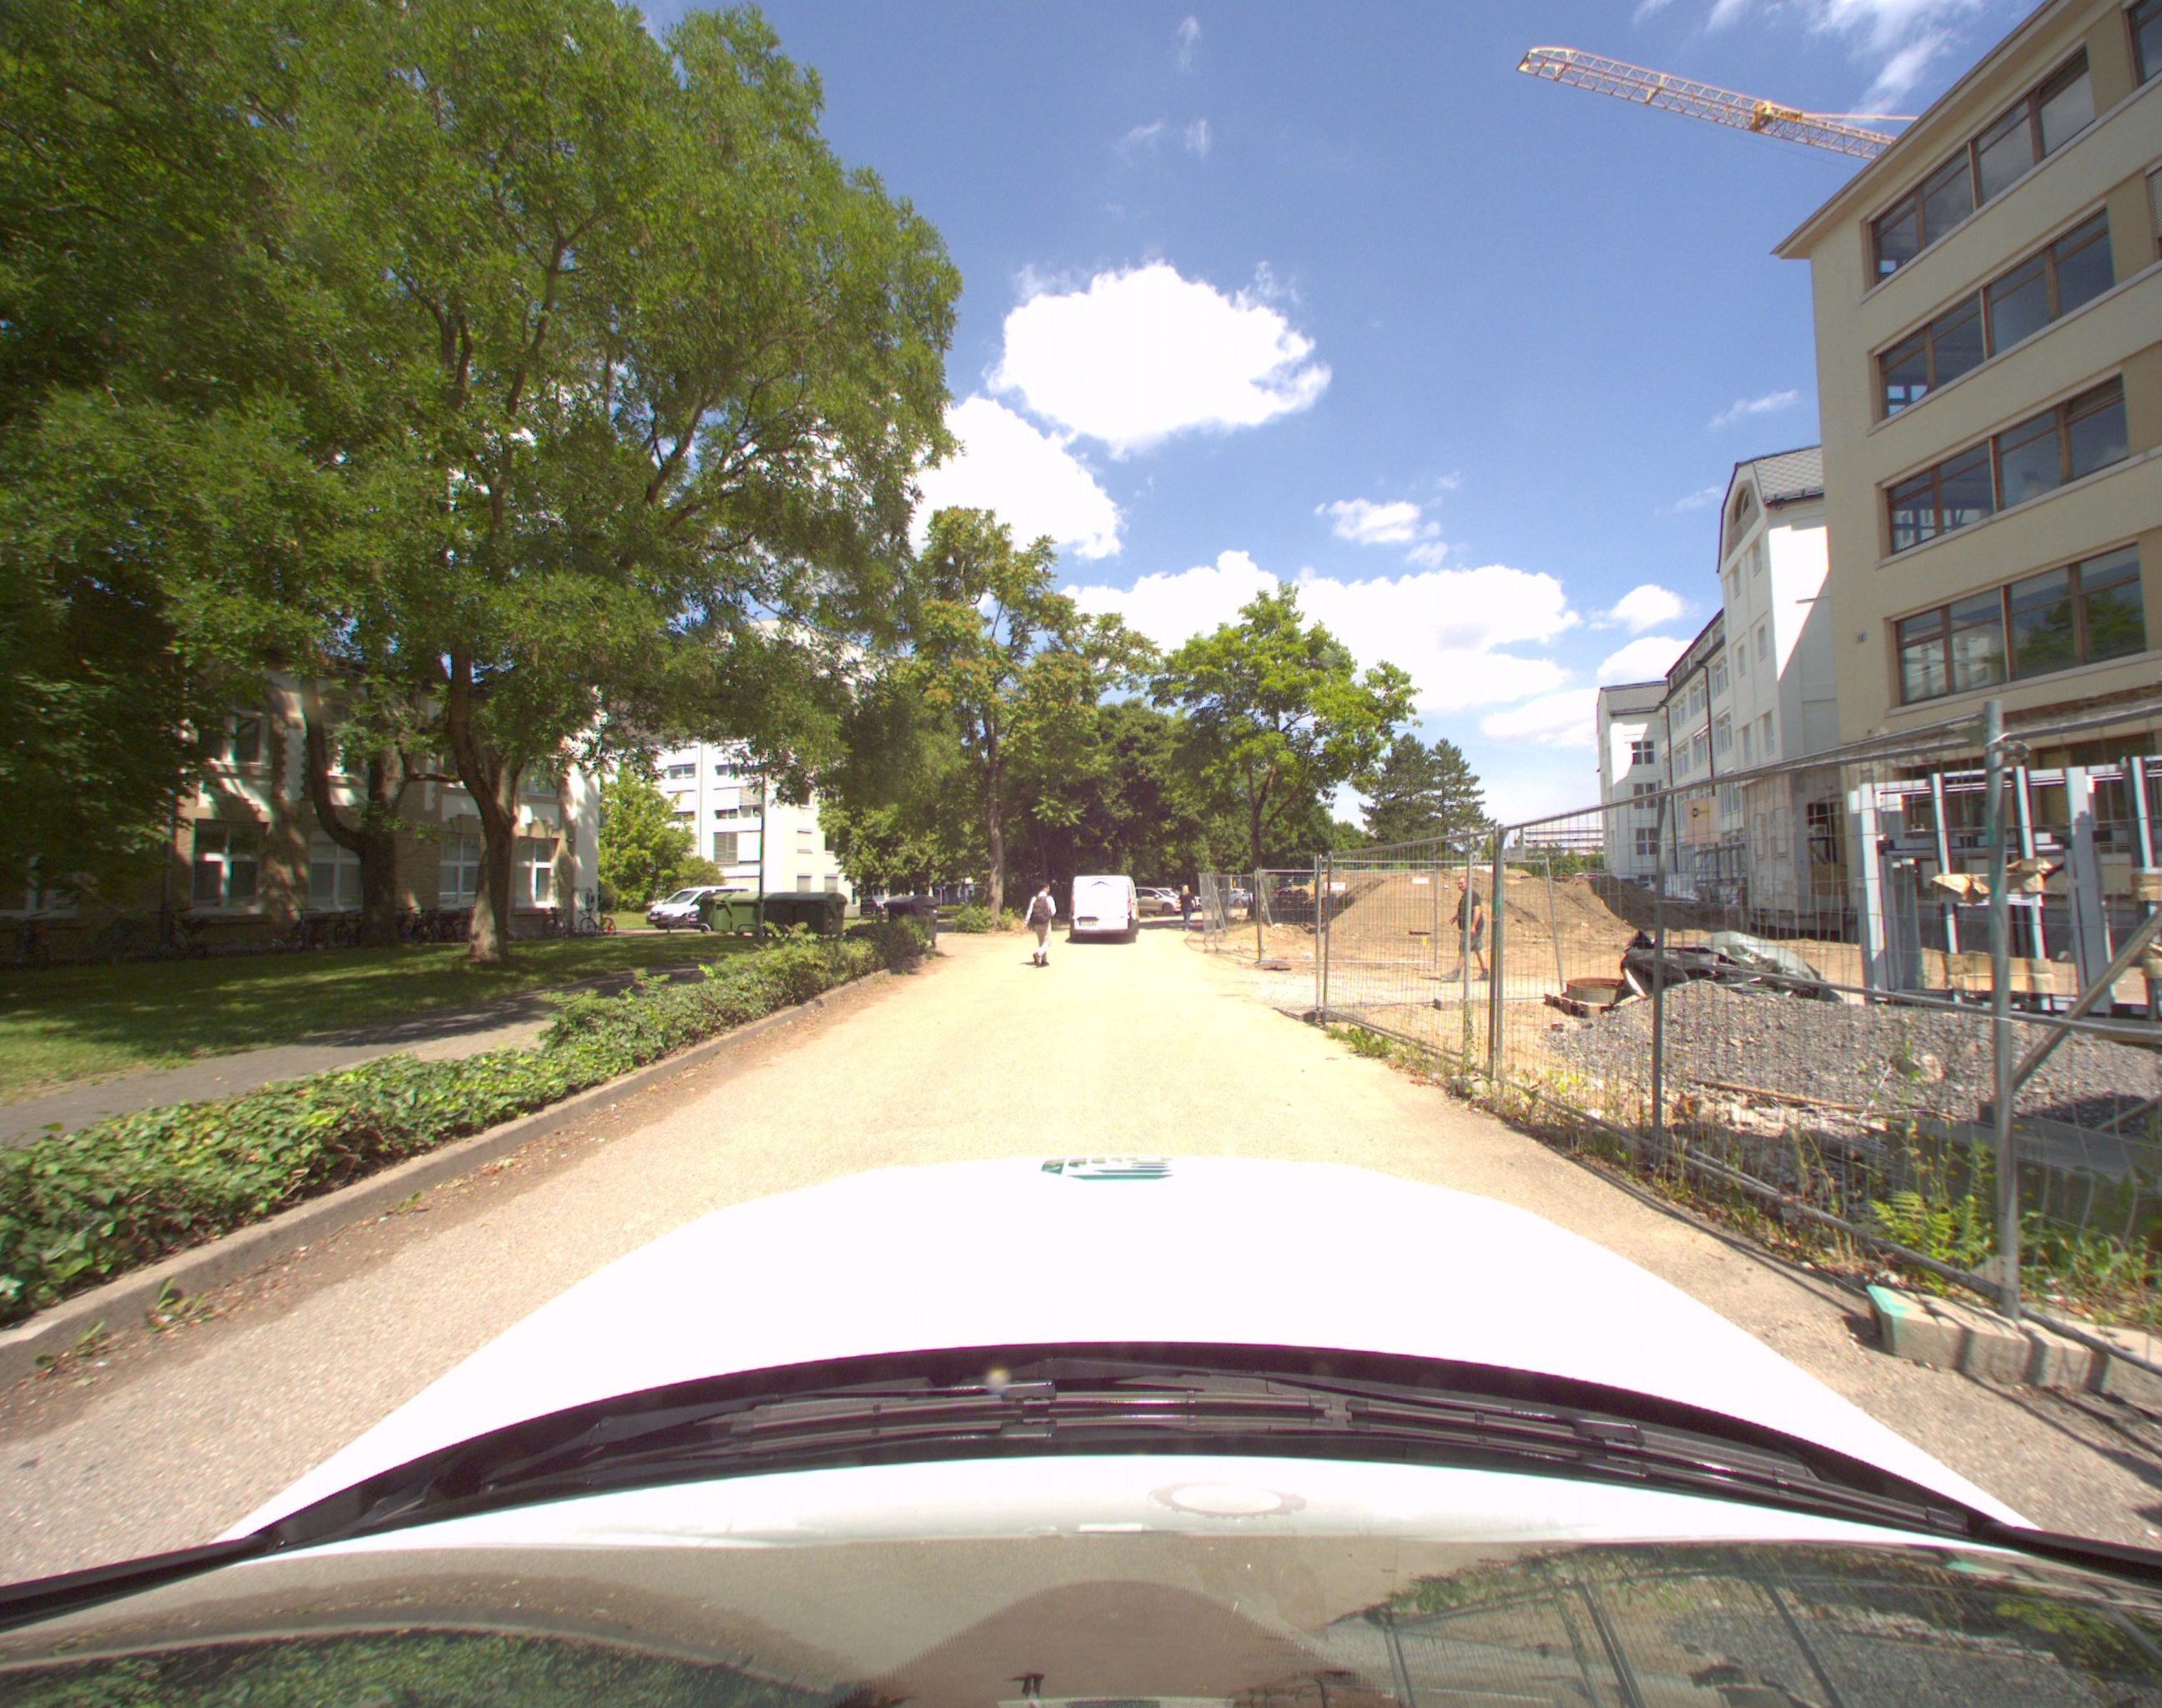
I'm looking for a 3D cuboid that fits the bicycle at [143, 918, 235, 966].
[{"bbox_3d":[-20.012,1.953,18.266,2.232,1.011,0.610,-1,-3,22],"label":"bicycle"}]

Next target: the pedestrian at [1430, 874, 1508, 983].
[{"bbox_3d":[6.708,1.276,14.132,0.959,1.820,0.872,-1,-3,8],"label":"pedestrian"}]

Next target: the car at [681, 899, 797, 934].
[{"bbox_3d":[-14.970,2.700,35.931,1.810,1.352,4.653,-2,-3,26],"label":"car"}]

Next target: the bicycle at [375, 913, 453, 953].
[{"bbox_3d":[-18.103,2.133,22.093,2.232,1.011,0.610,-1,-3,22],"label":"bicycle"}]

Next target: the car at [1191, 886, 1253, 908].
[{"bbox_3d":[11.094,3.393,64.194,4.464,1.598,1.735,-2,-2,25],"label":"car"}]

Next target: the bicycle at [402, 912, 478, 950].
[{"bbox_3d":[-17.874,2.131,22.714,2.232,1.011,0.610,-1,-3,22],"label":"bicycle"}]

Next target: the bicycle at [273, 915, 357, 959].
[{"bbox_3d":[-19.001,2.042,20.203,2.232,1.011,0.610,-1,-3,22],"label":"bicycle"}]

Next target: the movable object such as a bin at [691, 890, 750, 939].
[{"bbox_3d":[-11.384,1.909,25.737,1.392,1.480,1.054,-2,-3,26],"label":"movable object such as a bin"}]

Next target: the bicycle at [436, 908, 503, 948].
[{"bbox_3d":[-17.610,2.114,23.433,2.231,1.082,0.611,-2,-3,28],"label":"bicycle"}]

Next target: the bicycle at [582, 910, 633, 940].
[{"bbox_3d":[-15.770,2.351,27.106,1.708,0.958,0.617,-2,-3,28],"label":"bicycle"}]

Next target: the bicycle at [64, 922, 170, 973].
[{"bbox_3d":[-20.514,1.965,17.327,2.234,1.011,0.610,-1,-3,18],"label":"bicycle"}]

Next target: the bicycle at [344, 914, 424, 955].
[{"bbox_3d":[-18.407,2.108,21.490,2.232,1.011,0.610,-1,-3,22],"label":"bicycle"}]

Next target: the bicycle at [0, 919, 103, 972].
[{"bbox_3d":[-20.909,1.828,16.469,2.234,1.011,0.610,-1,-3,18],"label":"bicycle"}]

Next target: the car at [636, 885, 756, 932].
[{"bbox_3d":[-17.583,2.469,37.487,1.975,2.014,4.802,-3,-3,26],"label":"car"}]

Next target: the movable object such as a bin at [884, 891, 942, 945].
[{"bbox_3d":[-4.568,1.711,22.102,1.122,1.394,1.146,1,-3,-41],"label":"movable object such as a bin"}]

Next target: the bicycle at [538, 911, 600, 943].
[{"bbox_3d":[-16.292,2.298,25.901,2.231,0.958,0.611,-2,-3,28],"label":"bicycle"}]

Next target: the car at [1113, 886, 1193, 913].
[{"bbox_3d":[4.466,2.846,50.505,4.464,1.610,2.011,-2,-5,26],"label":"car"}]

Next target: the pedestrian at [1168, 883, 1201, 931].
[{"bbox_3d":[3.665,1.864,28.778,1.028,1.650,1.052,-1,-2,12],"label":"pedestrian"}]

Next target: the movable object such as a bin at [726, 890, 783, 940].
[{"bbox_3d":[-10.058,1.868,25.093,1.246,1.480,1.054,-2,-3,26],"label":"movable object such as a bin"}]

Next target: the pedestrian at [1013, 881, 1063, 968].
[{"bbox_3d":[-0.879,1.434,16.833,0.870,1.730,1.081,-1,-2,5],"label":"pedestrian"}]

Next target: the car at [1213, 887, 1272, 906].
[{"bbox_3d":[13.725,3.622,69.198,4.464,1.598,1.947,-2,-3,26],"label":"car"}]

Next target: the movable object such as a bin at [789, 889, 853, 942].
[{"bbox_3d":[-7.614,1.795,23.919,1.309,1.480,1.214,-2,-3,23],"label":"movable object such as a bin"}]

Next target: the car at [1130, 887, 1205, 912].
[{"bbox_3d":[5.618,2.933,52.777,4.464,1.532,1.735,-2,-3,25],"label":"car"}]

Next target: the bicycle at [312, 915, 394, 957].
[{"bbox_3d":[-18.683,2.084,20.897,2.232,1.011,0.610,-1,-3,22],"label":"bicycle"}]

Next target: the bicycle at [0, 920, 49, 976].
[{"bbox_3d":[-21.156,1.812,15.840,2.234,1.011,0.572,-1,-3,18],"label":"bicycle"}]

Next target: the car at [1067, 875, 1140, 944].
[{"bbox_3d":[0.816,1.693,25.664,1.963,1.947,4.587,-1,-3,5],"label":"car"}]

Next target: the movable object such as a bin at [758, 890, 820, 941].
[{"bbox_3d":[-8.789,1.832,24.536,1.345,1.480,1.101,-2,-3,15],"label":"movable object such as a bin"}]

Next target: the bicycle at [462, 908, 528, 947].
[{"bbox_3d":[-17.285,2.137,23.993,2.231,1.082,0.611,-2,-3,28],"label":"bicycle"}]
